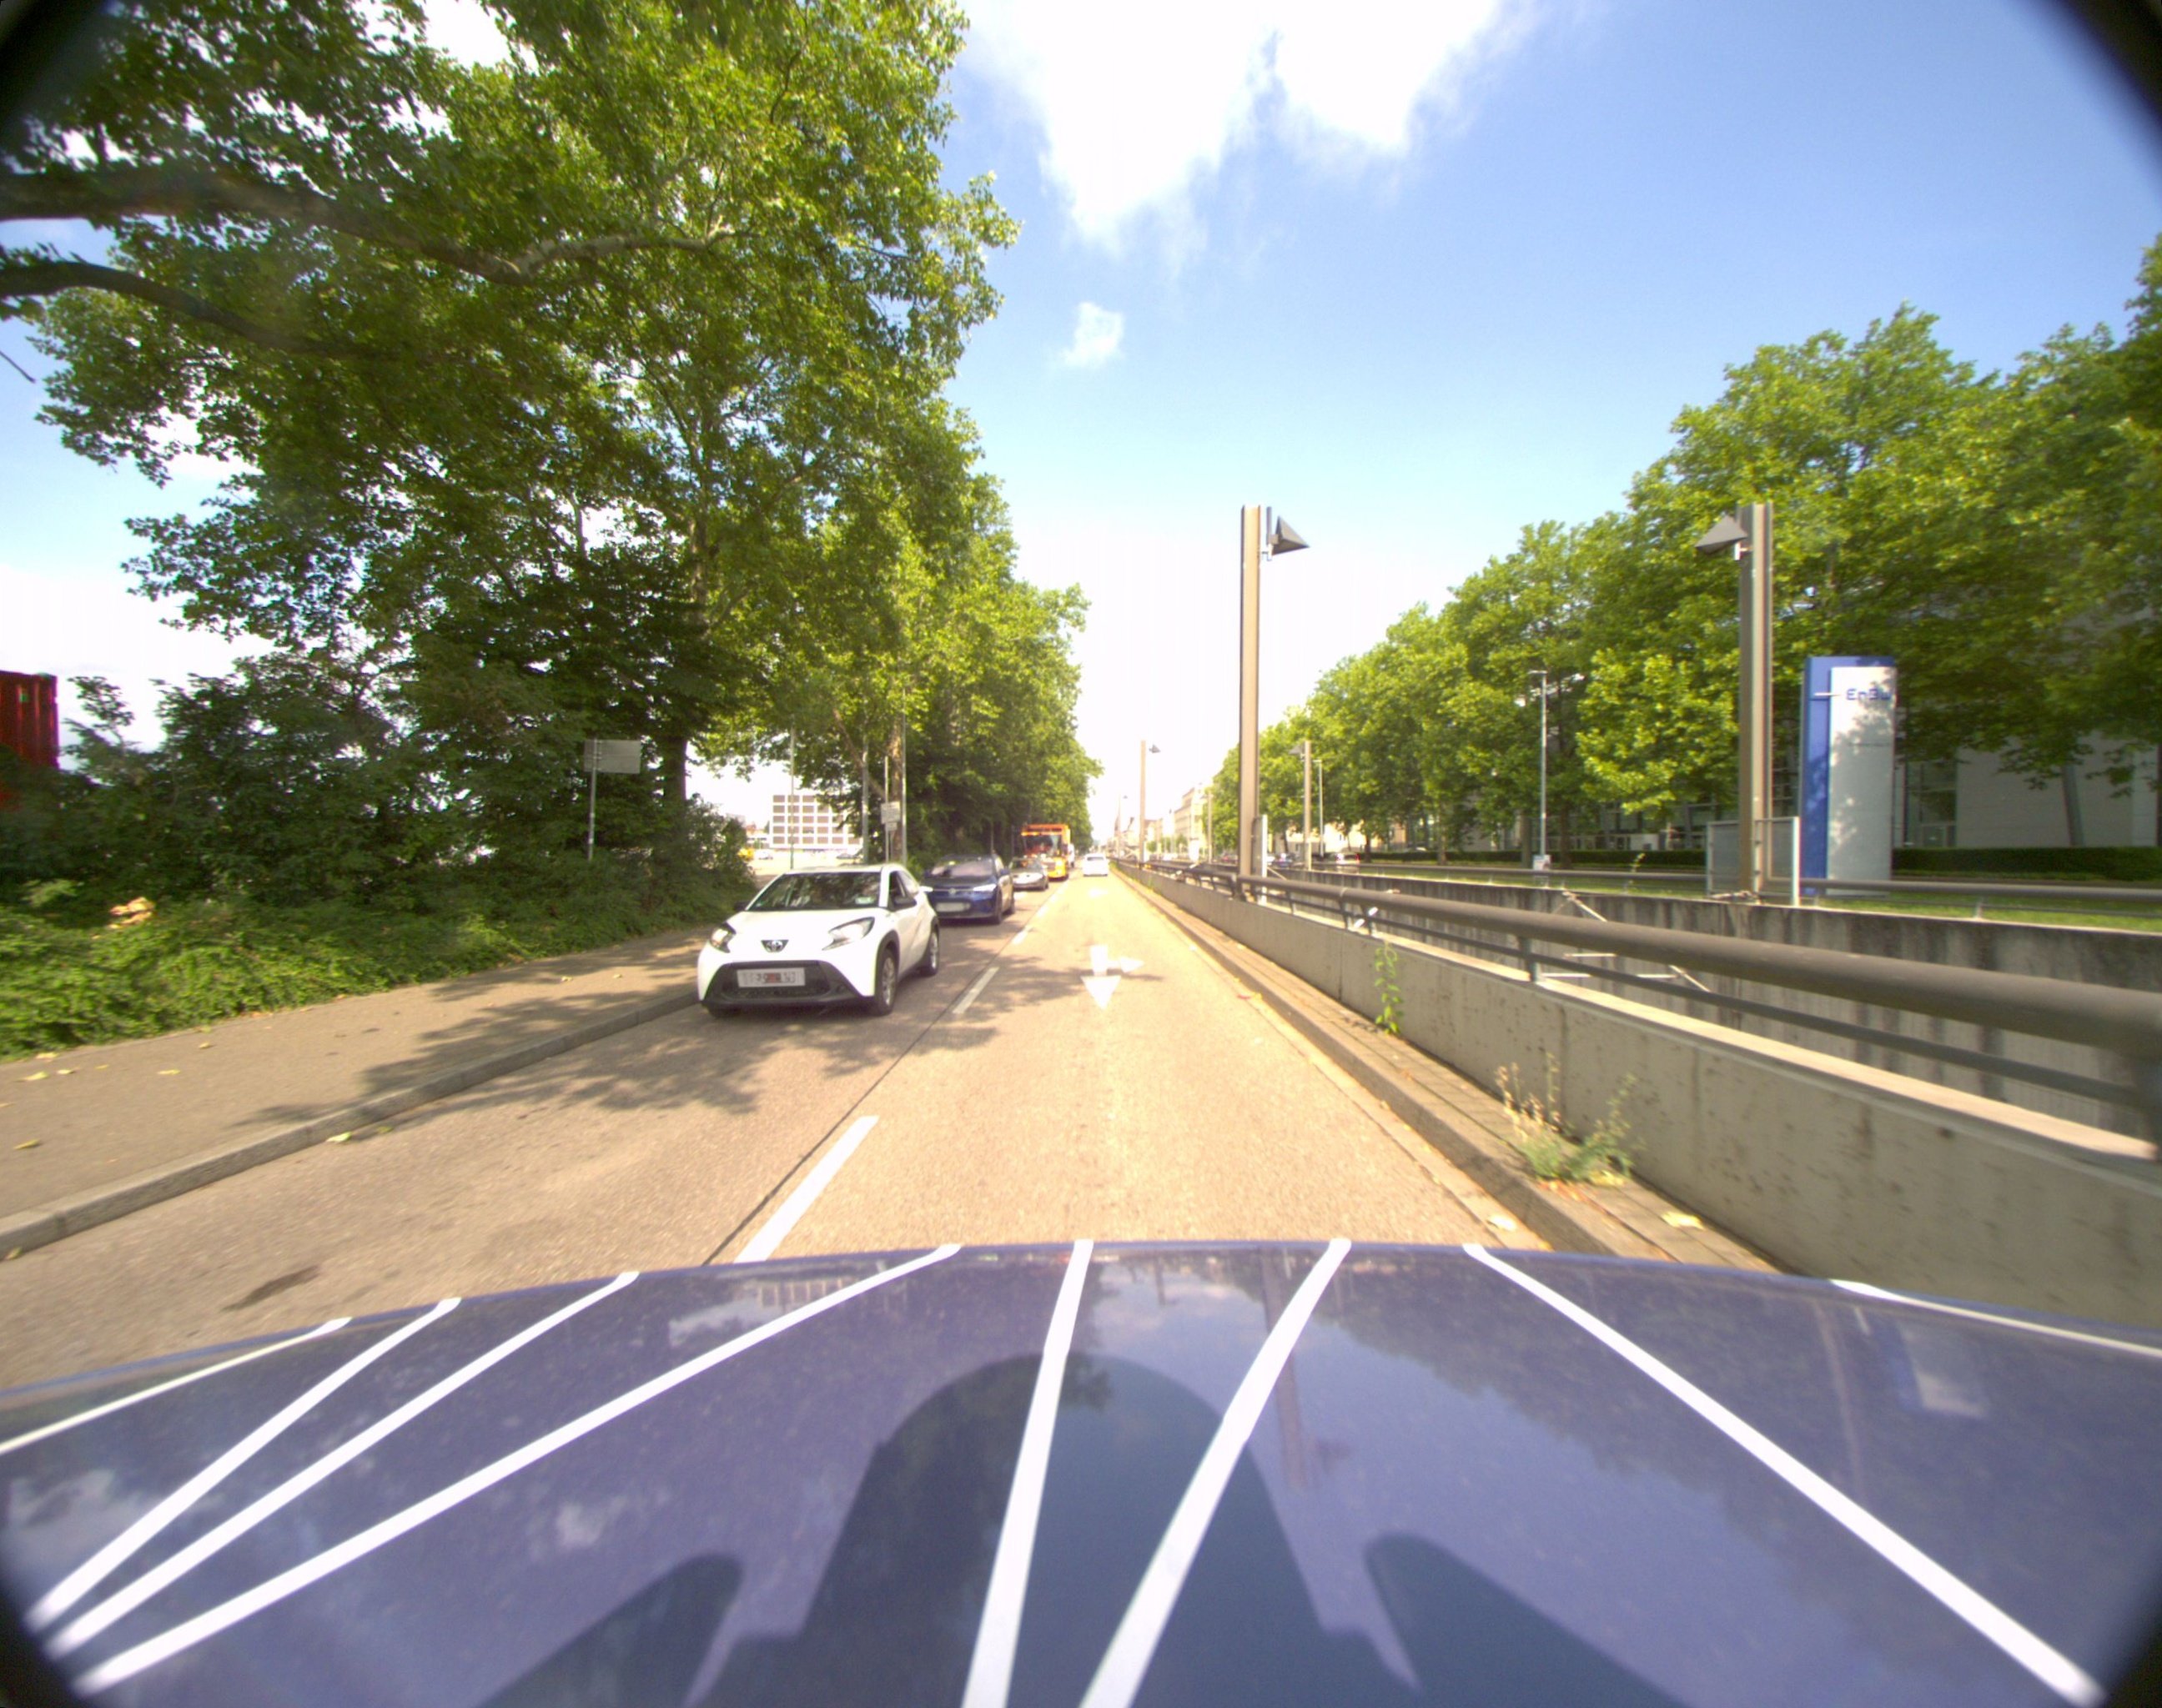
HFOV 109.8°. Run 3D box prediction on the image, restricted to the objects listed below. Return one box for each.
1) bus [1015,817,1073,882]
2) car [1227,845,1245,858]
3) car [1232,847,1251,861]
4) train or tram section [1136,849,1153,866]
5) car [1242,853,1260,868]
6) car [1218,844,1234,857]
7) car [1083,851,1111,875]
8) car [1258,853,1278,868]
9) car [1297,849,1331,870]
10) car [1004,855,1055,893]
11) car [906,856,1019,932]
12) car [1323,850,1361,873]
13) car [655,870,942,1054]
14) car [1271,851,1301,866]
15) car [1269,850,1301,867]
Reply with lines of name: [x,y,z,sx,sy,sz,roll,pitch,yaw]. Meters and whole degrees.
bus: [-2.037,-0.331,46.311,2.744,3.446,10.394,-2,1,1]
car: [16.643,-0.275,81.564,1.309,1.368,3.185,0,1,1]
car: [16.286,0.012,77.194,1.309,1.368,3.185,0,1,1]
train or tram section: [9.814,0.473,117.775,2.215,2.444,6.249,-2,1,2]
car: [16.195,0.586,72.498,1.167,1.368,2.745,0,1,1]
car: [16.523,-0.418,86.568,1.309,1.368,3.185,0,1,1]
car: [1.074,0.574,51.275,1.737,1.478,3.600,-1,2,-1]
car: [16.467,0.577,66.897,1.181,1.236,2.549,-1,1,1]
car: [17.042,0.377,55.622,1.582,1.426,3.157,0,1,1]
car: [-2.162,0.805,32.783,1.771,1.455,4.000,-2,1,1]
car: [-2.683,0.859,18.303,1.891,1.566,4.581,-1,0,1]
car: [16.681,0.464,48.671,1.420,1.447,3.157,0,1,1]
car: [-2.765,0.962,8.415,1.749,1.470,3.798,-1,0,0]
car: [16.789,0.352,62.258,1.611,1.198,3.127,0,1,0]
car: [16.784,0.343,62.673,1.579,1.368,3.896,0,1,1]
